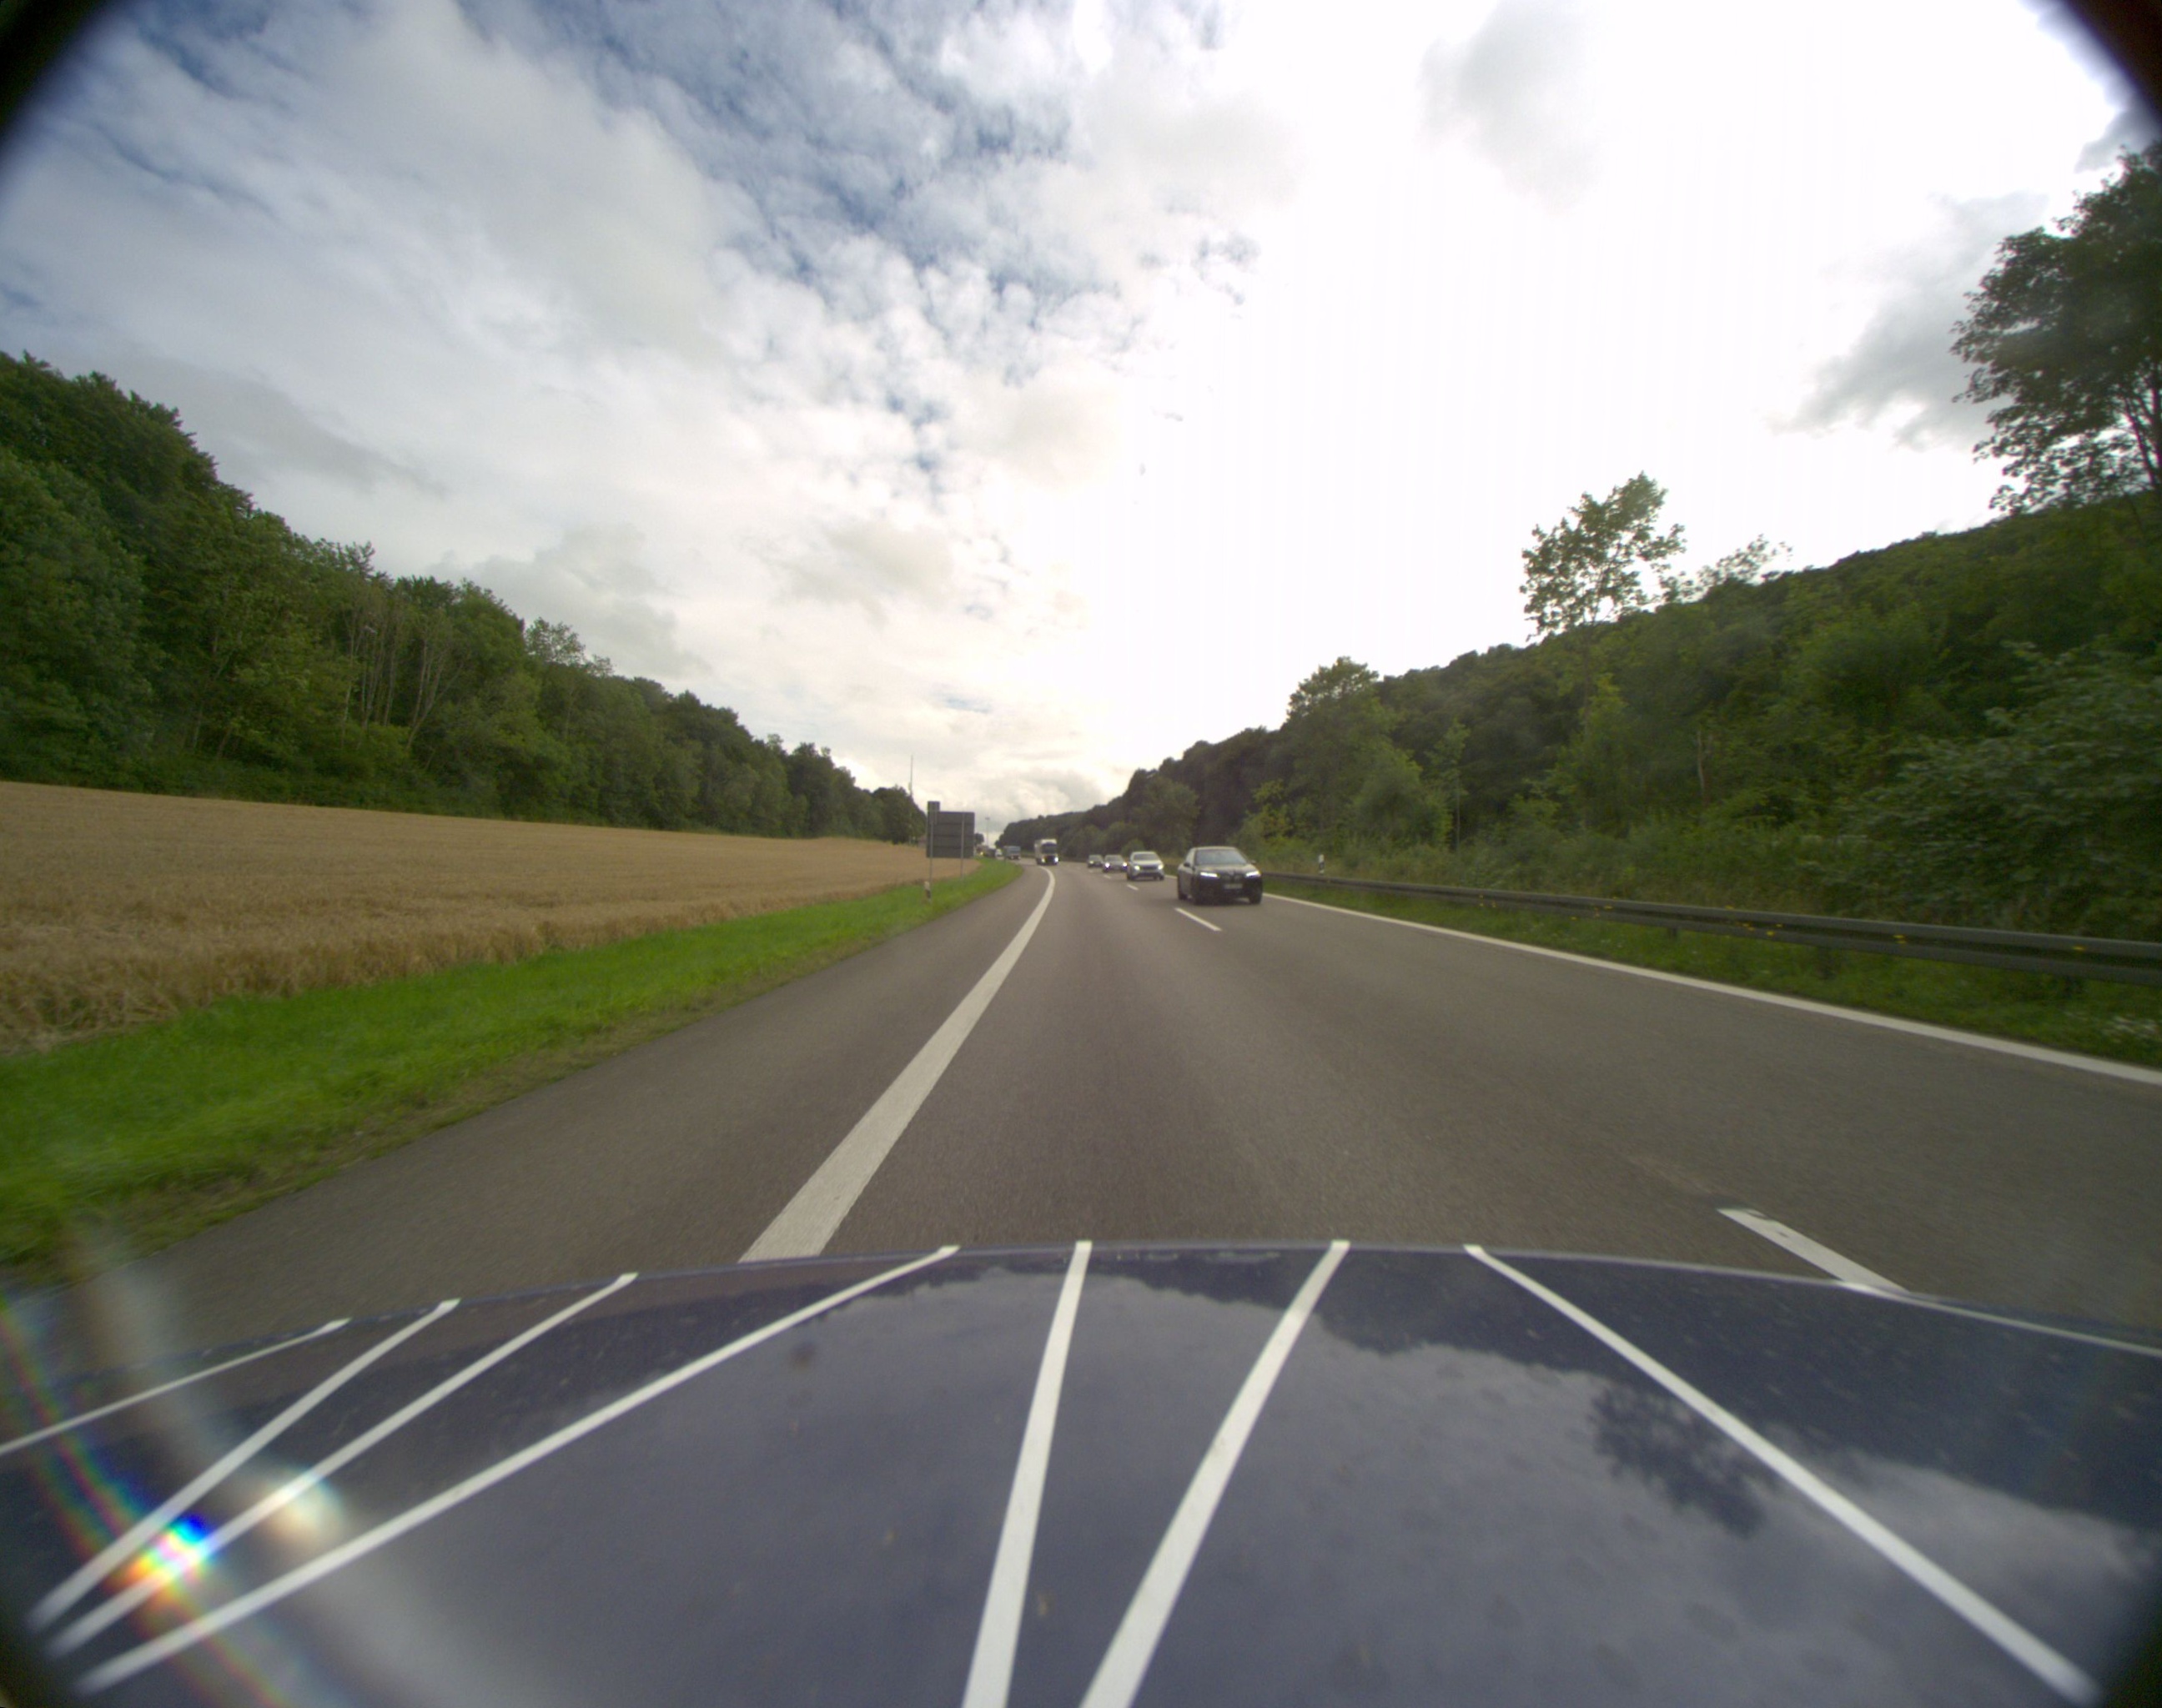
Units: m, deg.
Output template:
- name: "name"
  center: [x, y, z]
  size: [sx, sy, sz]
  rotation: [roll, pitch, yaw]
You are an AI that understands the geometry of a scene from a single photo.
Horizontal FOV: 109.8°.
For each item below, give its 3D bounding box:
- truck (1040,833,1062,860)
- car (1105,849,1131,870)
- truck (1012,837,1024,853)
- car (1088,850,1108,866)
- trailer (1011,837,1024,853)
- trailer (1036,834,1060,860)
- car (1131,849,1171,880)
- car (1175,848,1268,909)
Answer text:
- name: "truck"
  center: [-4.729, -1.156, 118.052]
  size: [2.797, 3.949, 5.935]
  rotation: [-1, 1, -8]
- name: "car"
  center: [3.131, 0.450, 65.565]
  size: [1.998, 1.656, 4.414]
  rotation: [-1, 1, 0]
- name: "truck"
  center: [-16.244, -2.299, 196.634]
  size: [2.797, 3.949, 5.935]
  rotation: [-1, 1, -7]
- name: "car"
  center: [1.936, 0.428, 86.722]
  size: [1.999, 1.656, 4.412]
  rotation: [-1, 1, -3]
- name: "trailer"
  center: [-17.101, -2.368, 203.352]
  size: [2.788, 3.932, 11.287]
  rotation: [-1, 1, -7]
- name: "trailer"
  center: [-5.393, -1.187, 123.010]
  size: [2.788, 3.932, 11.287]
  rotation: [-1, 1, -8]
- name: "car"
  center: [4.041, 0.559, 44.476]
  size: [1.998, 1.656, 4.415]
  rotation: [-1, 1, 2]
- name: "car"
  center: [4.187, 0.671, 23.402]
  size: [1.999, 1.656, 4.414]
  rotation: [-1, 1, 0]
